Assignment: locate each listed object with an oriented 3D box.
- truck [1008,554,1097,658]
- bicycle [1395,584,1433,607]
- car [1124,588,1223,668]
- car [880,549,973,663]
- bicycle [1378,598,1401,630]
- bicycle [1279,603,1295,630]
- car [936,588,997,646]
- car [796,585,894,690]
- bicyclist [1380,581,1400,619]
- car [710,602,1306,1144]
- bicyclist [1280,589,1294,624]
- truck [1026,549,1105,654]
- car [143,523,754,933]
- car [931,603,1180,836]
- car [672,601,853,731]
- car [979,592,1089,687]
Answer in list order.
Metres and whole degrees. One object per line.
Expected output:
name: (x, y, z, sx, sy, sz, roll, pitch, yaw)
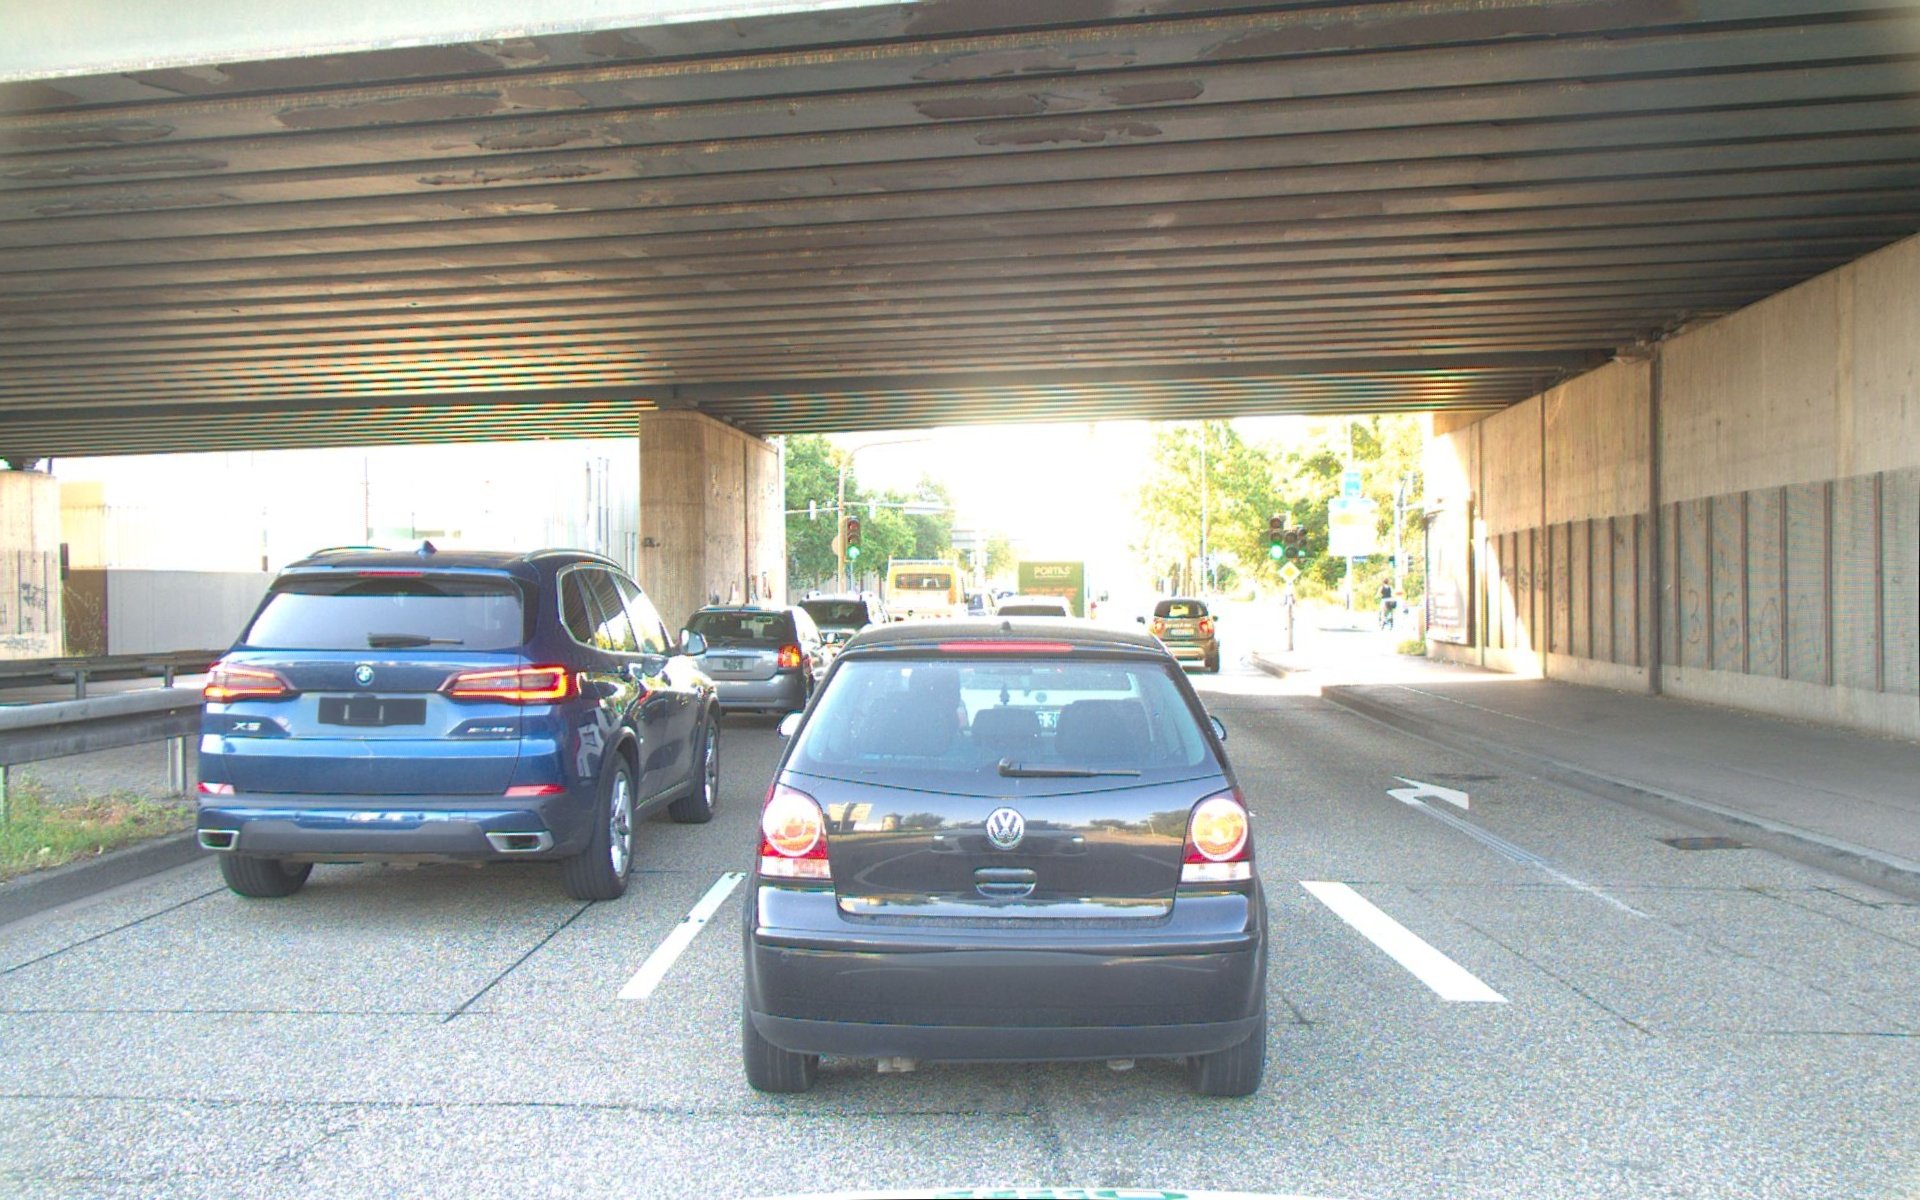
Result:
truck: (2.291, 0.152, 40.098, 1.954, 2.356, 4.002, 1, 0, 6)
bicycle: (21.251, -0.197, 77.422, 1.628, 1.008, 0.578, -1, 2, 23)
car: (4.702, 0.611, 36.939, 1.701, 1.659, 4.062, 1, 0, 1)
car: (-0.765, 0.151, 41.103, 2.092, 2.621, 5.087, 1, 0, 1)
bicycle: (15.583, 0.511, 60.061, 0.552, 1.132, 1.623, 1, 0, 6)
bicycle: (11.682, 0.575, 59.037, 0.428, 0.930, 1.027, -2, -1, 6)
car: (0.240, 0.530, 51.686, 1.582, 1.709, 3.685, 1, 0, 5)
car: (-2.057, 0.632, 29.246, 1.585, 1.709, 3.679, 1, 0, -5)
bicyclist: (15.597, 0.003, 59.999, 0.532, 1.339, 0.836, 1, -1, 6)
car: (0.117, 0.744, 6.295, 1.583, 1.434, 3.682, 1, 0, -1)
bicyclist: (11.690, 0.235, 59.097, 0.418, 1.254, 0.460, -1, -1, 6)
truck: (2.936, 0.057, 45.170, 1.954, 2.715, 4.002, 1, 0, 6)
car: (-2.537, 0.570, 9.539, 1.952, 1.764, 4.533, 1, 0, 2)
car: (0.620, 0.759, 12.447, 1.546, 1.438, 4.062, 1, 0, 1)
car: (-2.354, 0.755, 20.523, 1.583, 1.434, 3.684, 1, 0, 3)
car: (1.408, 0.691, 30.205, 1.758, 1.586, 4.002, 1, 0, 6)
